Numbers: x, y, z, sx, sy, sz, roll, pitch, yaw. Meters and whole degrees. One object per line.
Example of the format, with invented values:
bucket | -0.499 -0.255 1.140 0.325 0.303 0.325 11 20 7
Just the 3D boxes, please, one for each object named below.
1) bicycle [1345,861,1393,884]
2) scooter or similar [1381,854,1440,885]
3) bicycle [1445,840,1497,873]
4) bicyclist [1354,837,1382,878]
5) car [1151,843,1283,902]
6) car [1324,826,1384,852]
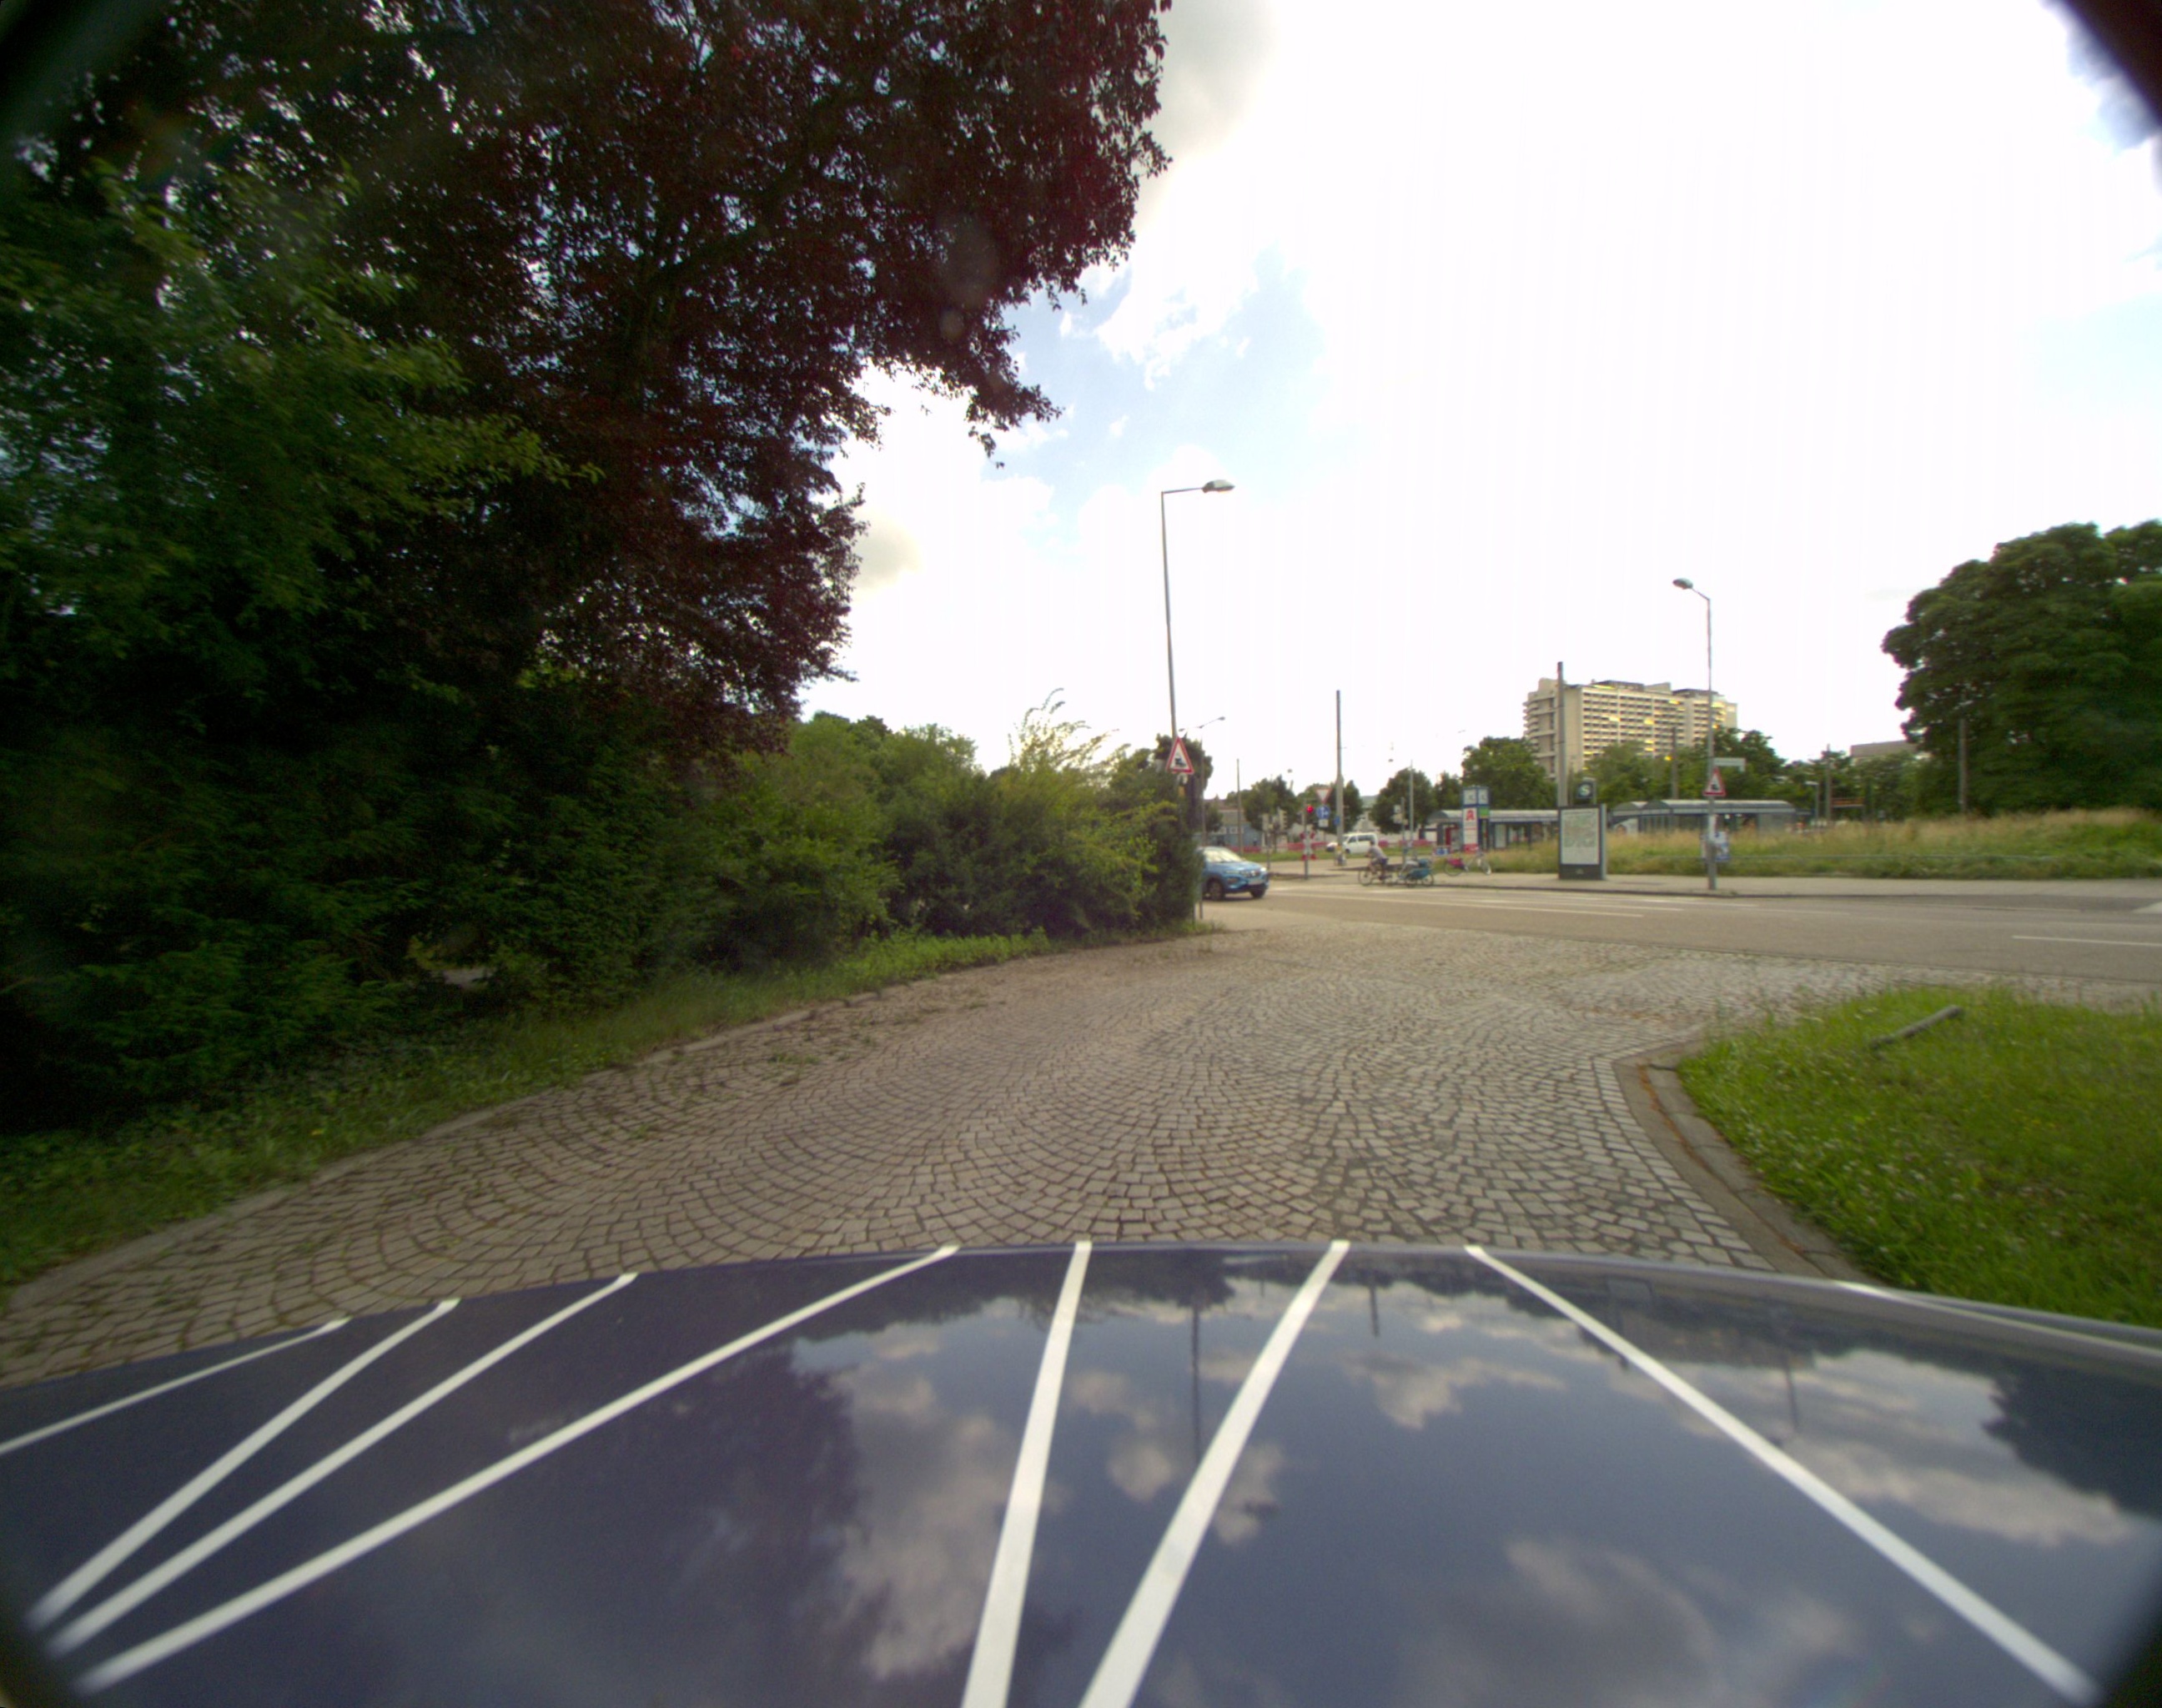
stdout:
bicycle | 10.375 0.643 27.451 0.556 0.761 1.724 -3 2 -23
scooter or similar | 11.113 0.516 25.673 0.963 0.974 1.576 -3 1 -23
bicycle | 14.681 0.082 28.638 1.656 1.126 0.702 -4 1 30
bicyclist | 10.352 0.116 27.453 0.456 1.467 0.840 -3 2 -23
car | 3.721 0.492 21.391 1.607 1.455 3.695 -3 1 -30
car | 23.628 -1.312 65.754 4.838 2.002 1.996 -3 2 -25
